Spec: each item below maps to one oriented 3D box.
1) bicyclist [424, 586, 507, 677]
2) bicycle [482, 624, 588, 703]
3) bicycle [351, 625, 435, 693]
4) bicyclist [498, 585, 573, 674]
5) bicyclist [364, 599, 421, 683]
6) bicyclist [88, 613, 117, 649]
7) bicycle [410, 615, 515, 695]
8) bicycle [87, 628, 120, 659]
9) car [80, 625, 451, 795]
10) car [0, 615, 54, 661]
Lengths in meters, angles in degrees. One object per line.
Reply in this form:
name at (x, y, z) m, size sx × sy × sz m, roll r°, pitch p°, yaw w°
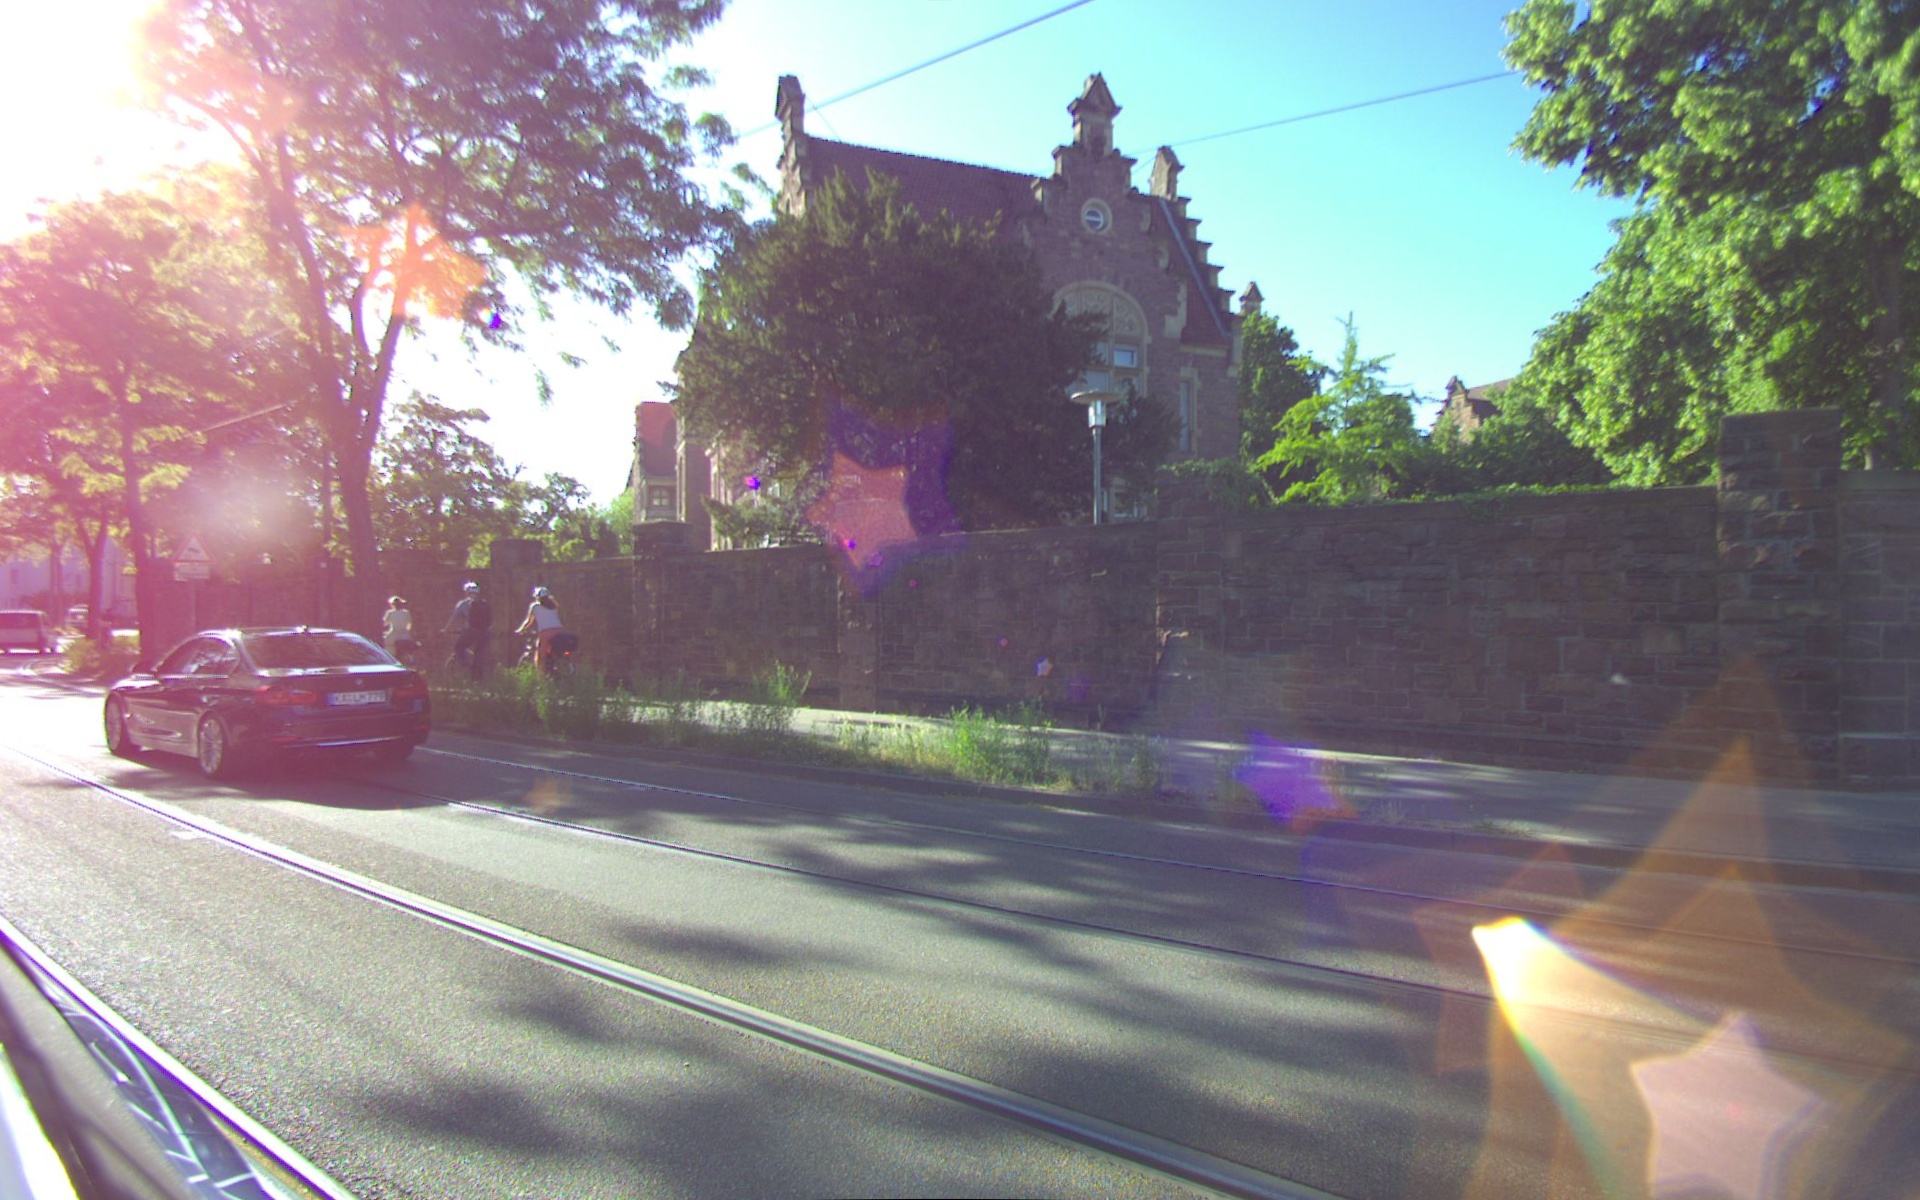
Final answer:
bicyclist at (-7.935, 0.484, 16.243) m, size 1.271 × 1.401 × 0.758 m, roll -1°, pitch 0°, yaw 41°
bicycle at (-7.022, 1.008, 16.684) m, size 2.086 × 1.200 × 0.724 m, roll -1°, pitch 0°, yaw 39°
bicycle at (-10.848, 1.092, 19.340) m, size 2.087 × 1.200 × 0.737 m, roll -1°, pitch 0°, yaw 41°
bicyclist at (-6.984, 0.466, 16.647) m, size 1.060 × 1.401 × 0.724 m, roll -1°, pitch 0°, yaw 39°
bicyclist at (-10.820, 0.762, 19.304) m, size 0.751 × 1.546 × 0.734 m, roll -1°, pitch 0°, yaw 41°
bicyclist at (-31.574, 1.118, 37.254) m, size 0.871 × 1.294 × 0.676 m, roll -1°, pitch 0°, yaw 41°
bicycle at (-8.063, 0.854, 16.355) m, size 2.102 × 1.200 × 0.764 m, roll -1°, pitch 0°, yaw 41°
bicycle at (-31.464, 1.598, 37.165) m, size 1.735 × 1.086 × 0.676 m, roll -1°, pitch 0°, yaw 41°
car at (-7.360, 0.998, 10.614) m, size 4.247 × 1.433 × 1.722 m, roll -1°, pitch -1°, yaw 33°
car at (-39.548, 1.560, 42.694) m, size 1.804 × 1.824 × 4.006 m, roll 0°, pitch -1°, yaw -40°
